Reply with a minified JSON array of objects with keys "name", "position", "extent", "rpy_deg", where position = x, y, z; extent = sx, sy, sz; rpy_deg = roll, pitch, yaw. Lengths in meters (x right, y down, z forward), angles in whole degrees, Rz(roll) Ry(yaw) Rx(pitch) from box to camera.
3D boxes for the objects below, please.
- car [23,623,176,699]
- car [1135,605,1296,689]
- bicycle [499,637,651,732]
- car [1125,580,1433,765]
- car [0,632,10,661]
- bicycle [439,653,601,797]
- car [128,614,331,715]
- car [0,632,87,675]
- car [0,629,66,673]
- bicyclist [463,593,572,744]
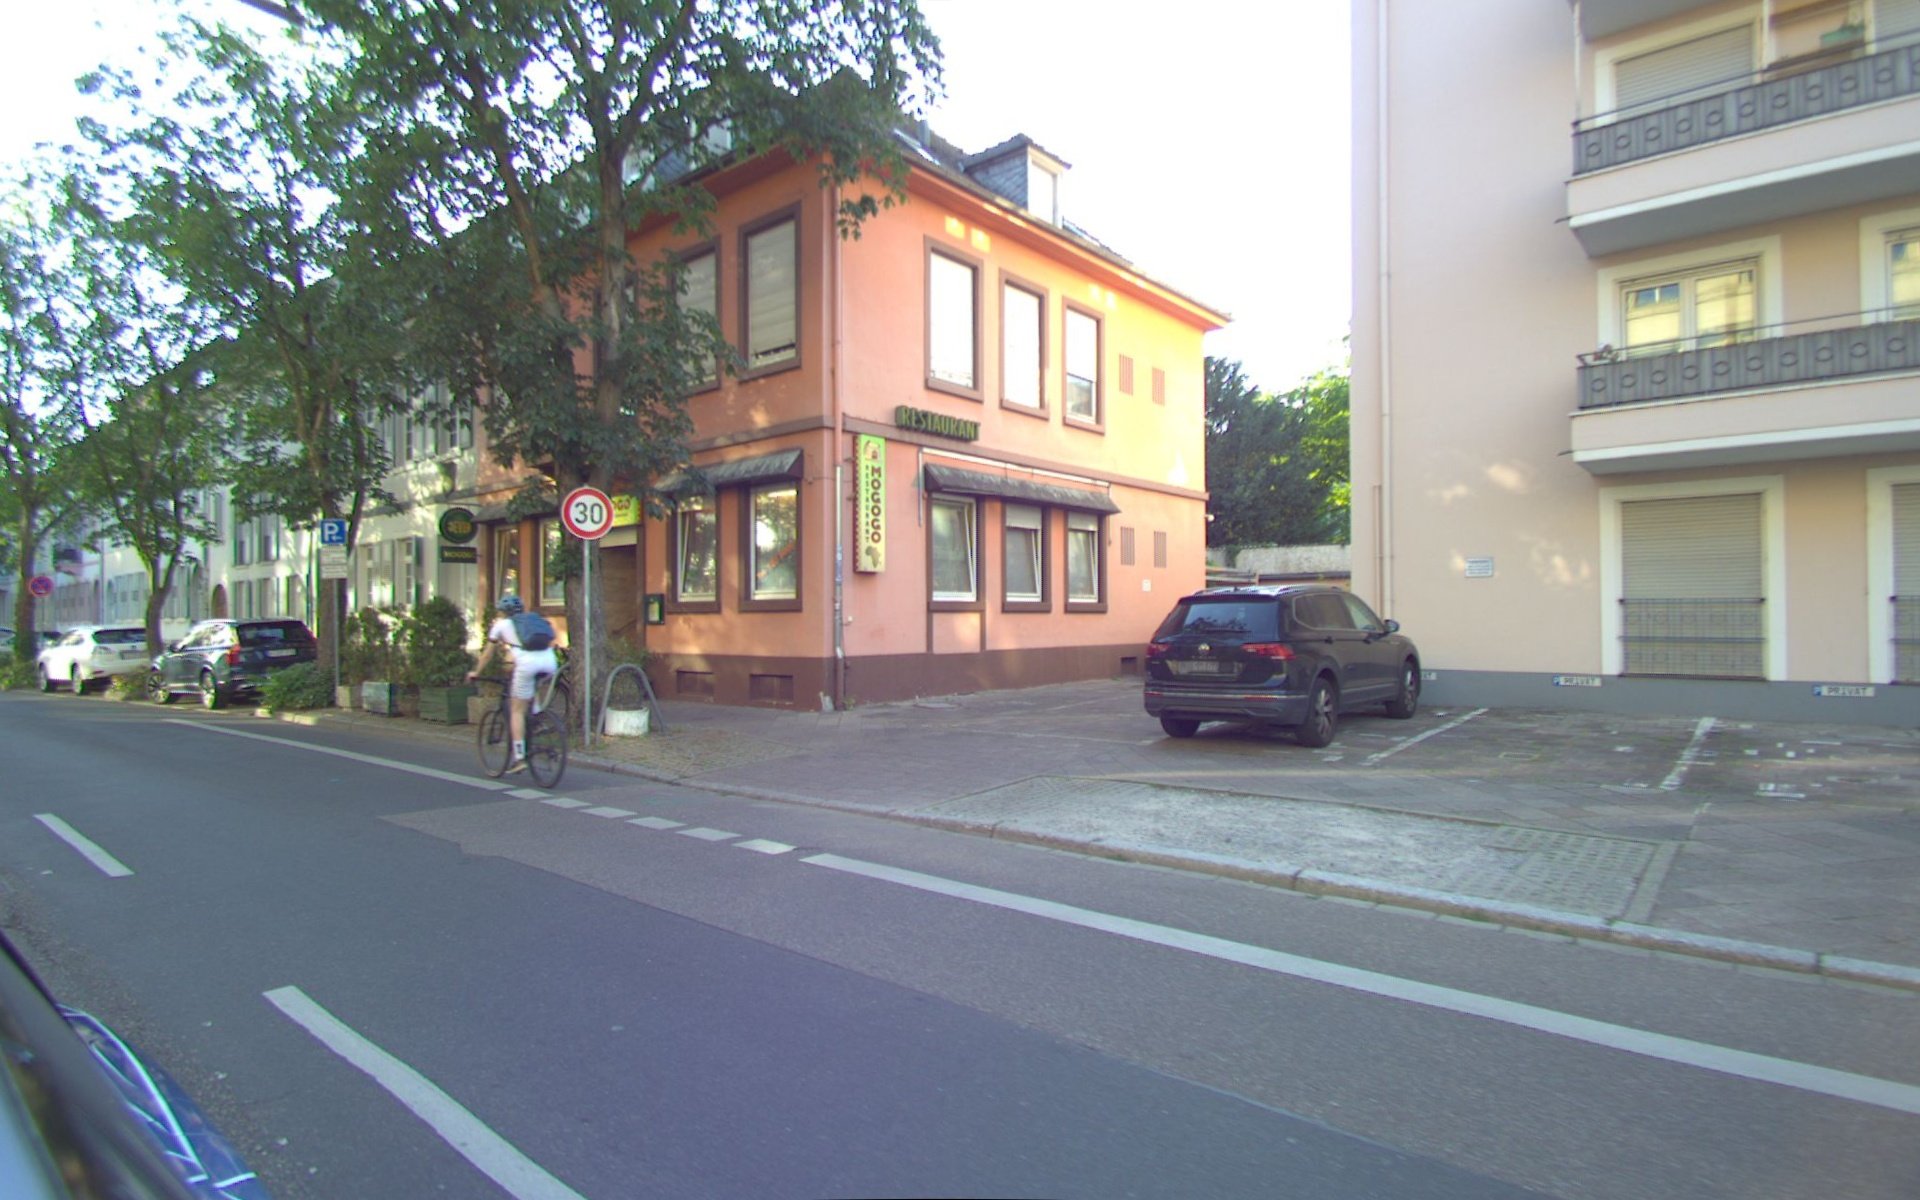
[{"name":"car","position":[-22.281,1.522,26.166],"extent":[4.645,1.680,1.813],"rpy_deg":[-1,2,35]},{"name":"car","position":[5.395,0.921,21.084],"extent":[1.884,1.567,3.762],"rpy_deg":[-2,-2,38]},{"name":"bicycle","position":[-5.002,1.058,13.251],"extent":[0.609,1.112,1.851],"rpy_deg":[-1,-1,34]},{"name":"car","position":[3.830,0.663,11.614],"extent":[1.862,1.678,4.375],"rpy_deg":[-2,0,39]},{"name":"car","position":[-52.090,2.435,52.283],"extent":[1.798,1.519,4.179],"rpy_deg":[-2,-2,38]},{"name":"bicycle","position":[-4.292,1.142,9.786],"extent":[2.052,1.164,0.618],"rpy_deg":[0,0,41]},{"name":"car","position":[-15.413,1.279,21.250],"extent":[5.036,1.772,1.813],"rpy_deg":[-1,2,35]},{"name":"car","position":[-36.232,2.026,38.667],"extent":[1.801,1.557,4.172],"rpy_deg":[-2,-2,43]},{"name":"car","position":[-38.502,2.024,40.215],"extent":[1.798,1.703,4.179],"rpy_deg":[-2,-2,38]},{"name":"bicyclist","position":[-4.273,0.628,9.775],"extent":[0.929,1.375,0.618],"rpy_deg":[0,-1,41]}]
